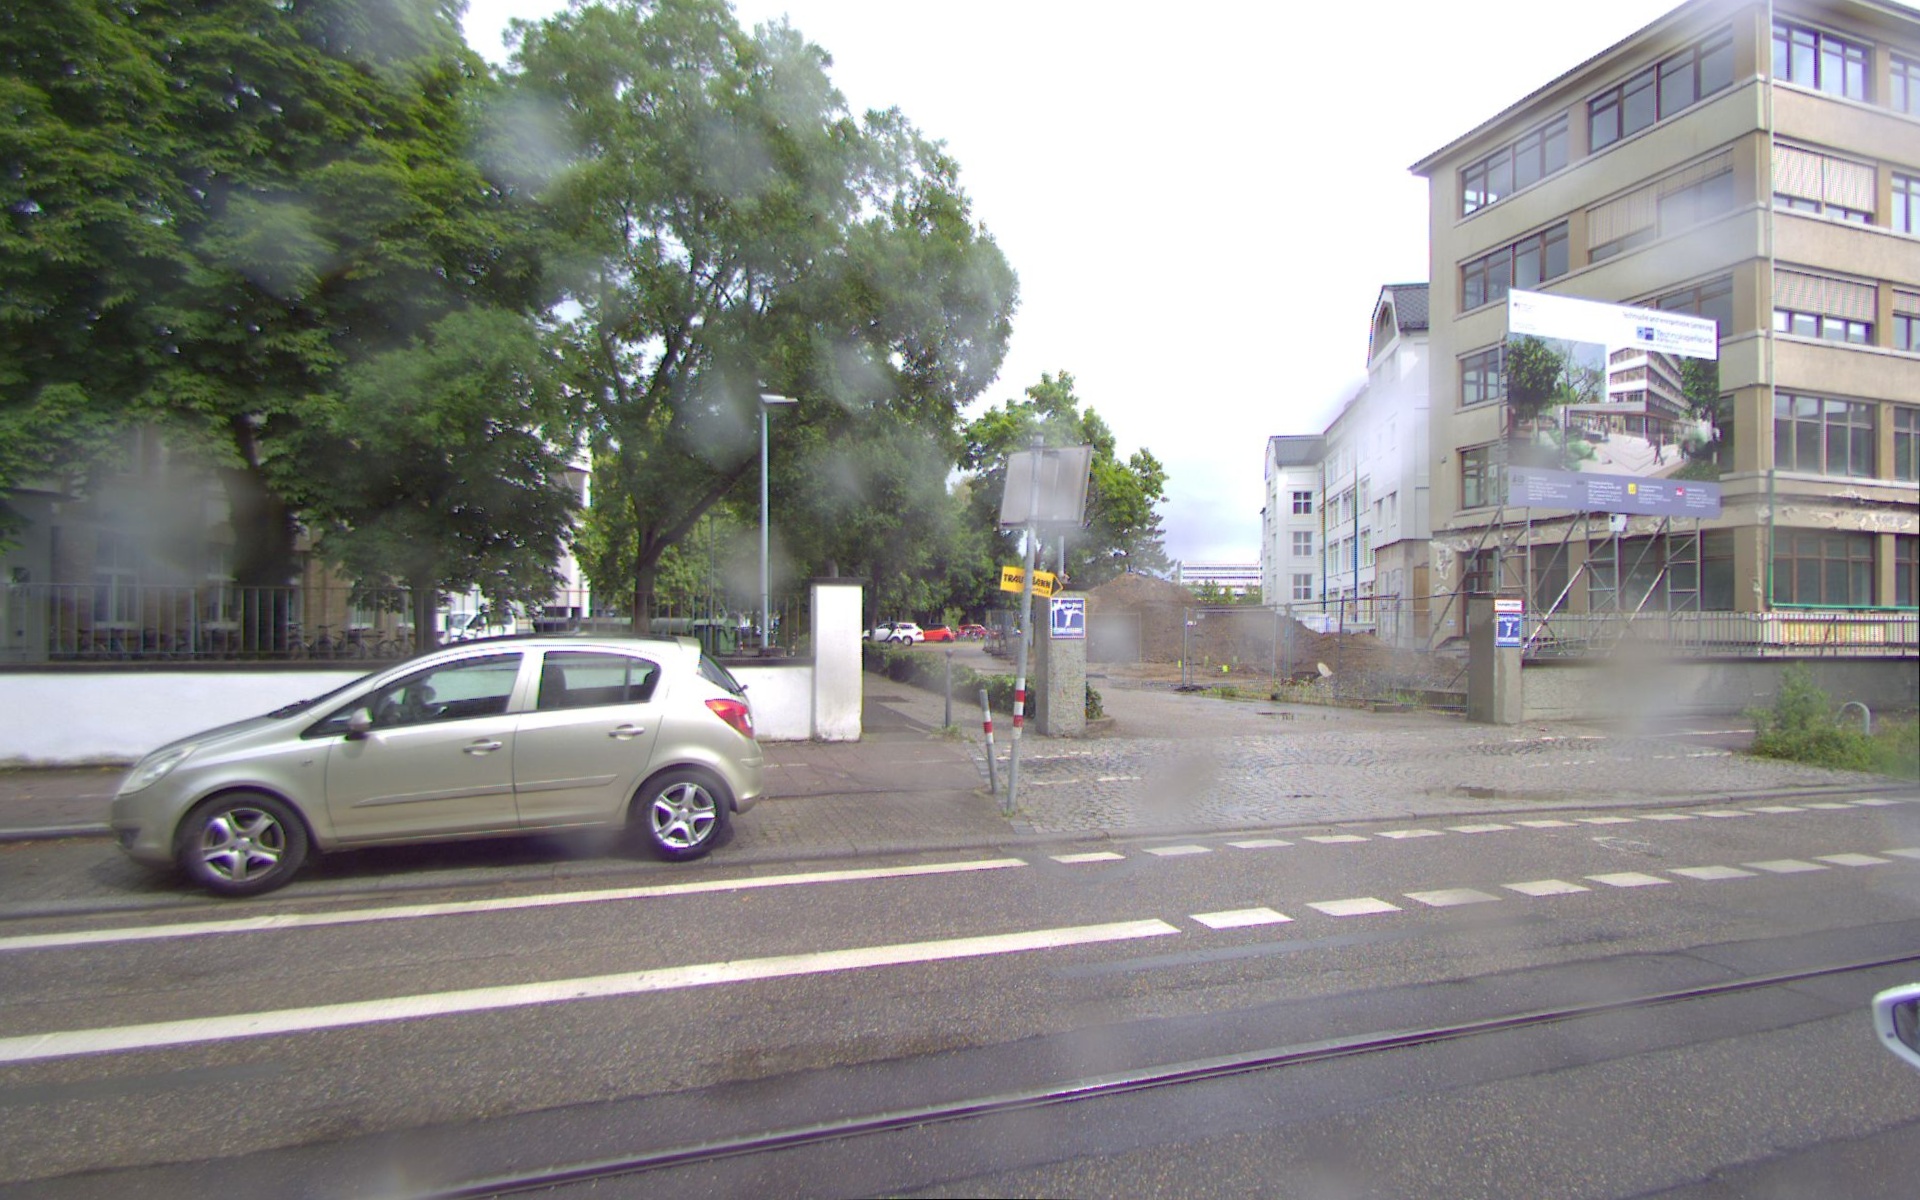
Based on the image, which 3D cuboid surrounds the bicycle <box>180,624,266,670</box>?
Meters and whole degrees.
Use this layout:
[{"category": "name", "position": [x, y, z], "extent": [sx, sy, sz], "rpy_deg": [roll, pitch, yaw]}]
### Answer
[{"category": "bicycle", "position": [-18.809, 1.202, 25.637], "extent": [1.887, 1.131, 0.617], "rpy_deg": [-1, 0, 9]}]

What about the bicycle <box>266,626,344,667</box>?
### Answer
[{"category": "bicycle", "position": [-18.457, 1.317, 28.311], "extent": [1.887, 1.131, 0.617], "rpy_deg": [-1, 0, 9]}]

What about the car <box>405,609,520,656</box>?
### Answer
[{"category": "car", "position": [-22.068, 1.482, 44.811], "extent": [2.057, 1.951, 4.894], "rpy_deg": [-1, -2, 11]}]

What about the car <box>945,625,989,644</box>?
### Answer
[{"category": "car", "position": [0.688, 3.136, 92.165], "extent": [3.875, 1.537, 1.807], "rpy_deg": [2, 0, 5]}]

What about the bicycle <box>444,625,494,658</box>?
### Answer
[{"category": "bicycle", "position": [-17.292, 1.470, 35.390], "extent": [1.489, 1.131, 0.617], "rpy_deg": [-1, 0, 9]}]

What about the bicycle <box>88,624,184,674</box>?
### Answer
[{"category": "bicycle", "position": [-18.984, 1.119, 23.153], "extent": [1.887, 1.131, 0.617], "rpy_deg": [-1, 0, 9]}]

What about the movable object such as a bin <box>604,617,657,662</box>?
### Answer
[{"category": "movable object such as a bin", "position": [-11.481, 1.375, 35.070], "extent": [1.374, 1.502, 1.169], "rpy_deg": [1, -1, 5]}]

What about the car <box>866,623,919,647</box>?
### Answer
[{"category": "car", "position": [-4.311, 2.261, 64.623], "extent": [3.377, 1.488, 1.739], "rpy_deg": [0, 0, -3]}]

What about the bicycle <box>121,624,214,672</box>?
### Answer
[{"category": "bicycle", "position": [-19.048, 1.156, 24.151], "extent": [1.887, 1.131, 0.617], "rpy_deg": [-1, 0, 9]}]

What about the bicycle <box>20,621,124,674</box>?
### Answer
[{"category": "bicycle", "position": [-19.191, 1.021, 21.725], "extent": [1.887, 1.131, 0.617], "rpy_deg": [-1, 0, 9]}]

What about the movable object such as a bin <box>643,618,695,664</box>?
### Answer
[{"category": "movable object such as a bin", "position": [-10.102, 1.415, 34.877], "extent": [1.375, 1.502, 1.169], "rpy_deg": [2, -2, 2]}]

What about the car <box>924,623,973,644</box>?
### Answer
[{"category": "car", "position": [-0.959, 2.793, 84.165], "extent": [3.728, 1.549, 1.910], "rpy_deg": [2, 0, 10]}]

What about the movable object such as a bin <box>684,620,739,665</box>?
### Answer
[{"category": "movable object such as a bin", "position": [-8.586, 1.467, 34.765], "extent": [1.456, 1.492, 1.105], "rpy_deg": [0, -2, 19]}]

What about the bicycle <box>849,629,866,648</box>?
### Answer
[{"category": "bicycle", "position": [-5.130, 1.914, 50.305], "extent": [0.467, 0.872, 1.457], "rpy_deg": [2, 0, 9]}]

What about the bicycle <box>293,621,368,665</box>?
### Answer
[{"category": "bicycle", "position": [-18.311, 1.249, 29.228], "extent": [1.887, 1.241, 0.617], "rpy_deg": [-1, 0, 9]}]

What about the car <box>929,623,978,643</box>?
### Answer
[{"category": "car", "position": [-0.526, 2.848, 86.366], "extent": [3.919, 1.516, 1.995], "rpy_deg": [2, 0, 9]}]

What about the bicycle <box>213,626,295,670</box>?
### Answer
[{"category": "bicycle", "position": [-18.721, 1.277, 26.641], "extent": [1.887, 1.131, 0.617], "rpy_deg": [-1, 0, 9]}]

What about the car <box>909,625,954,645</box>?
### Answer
[{"category": "car", "position": [-2.230, 2.737, 79.647], "extent": [3.227, 1.444, 1.593], "rpy_deg": [2, 0, 12]}]

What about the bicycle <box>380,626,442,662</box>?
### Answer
[{"category": "bicycle", "position": [-17.837, 1.428, 32.669], "extent": [1.752, 1.131, 0.617], "rpy_deg": [-1, 0, 9]}]

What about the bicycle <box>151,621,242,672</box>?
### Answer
[{"category": "bicycle", "position": [-18.876, 1.150, 24.834], "extent": [1.887, 1.192, 0.617], "rpy_deg": [1, -1, 9]}]

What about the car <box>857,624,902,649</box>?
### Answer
[{"category": "car", "position": [-4.972, 2.241, 62.327], "extent": [2.709, 1.504, 1.592], "rpy_deg": [0, 0, -3]}]

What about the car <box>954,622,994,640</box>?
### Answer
[{"category": "car", "position": [1.421, 3.073, 100.318], "extent": [3.791, 1.594, 1.959], "rpy_deg": [2, 0, 5]}]

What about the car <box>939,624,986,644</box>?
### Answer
[{"category": "car", "position": [0.268, 3.025, 89.675], "extent": [4.038, 1.672, 1.847], "rpy_deg": [2, 0, 4]}]

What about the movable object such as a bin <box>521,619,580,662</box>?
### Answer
[{"category": "movable object such as a bin", "position": [-14.443, 1.420, 35.499], "extent": [1.562, 1.503, 1.168], "rpy_deg": [0, 0, 4]}]

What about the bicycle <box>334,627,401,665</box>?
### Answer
[{"category": "bicycle", "position": [-18.095, 1.409, 30.689], "extent": [1.752, 1.131, 0.617], "rpy_deg": [-1, 0, 9]}]

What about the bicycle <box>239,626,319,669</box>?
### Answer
[{"category": "bicycle", "position": [-18.532, 1.293, 27.350], "extent": [1.887, 1.131, 0.617], "rpy_deg": [-1, 0, 9]}]

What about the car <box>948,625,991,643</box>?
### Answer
[{"category": "car", "position": [0.894, 3.192, 95.107], "extent": [3.919, 1.581, 1.765], "rpy_deg": [2, 0, 6]}]

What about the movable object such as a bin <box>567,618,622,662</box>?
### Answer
[{"category": "movable object such as a bin", "position": [-12.894, 1.391, 35.444], "extent": [1.467, 1.503, 1.168], "rpy_deg": [0, 0, 4]}]

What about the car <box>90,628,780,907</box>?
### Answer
[{"category": "car", "position": [-3.263, 0.962, 6.942], "extent": [3.773, 1.479, 1.683], "rpy_deg": [1, 0, -19]}]
